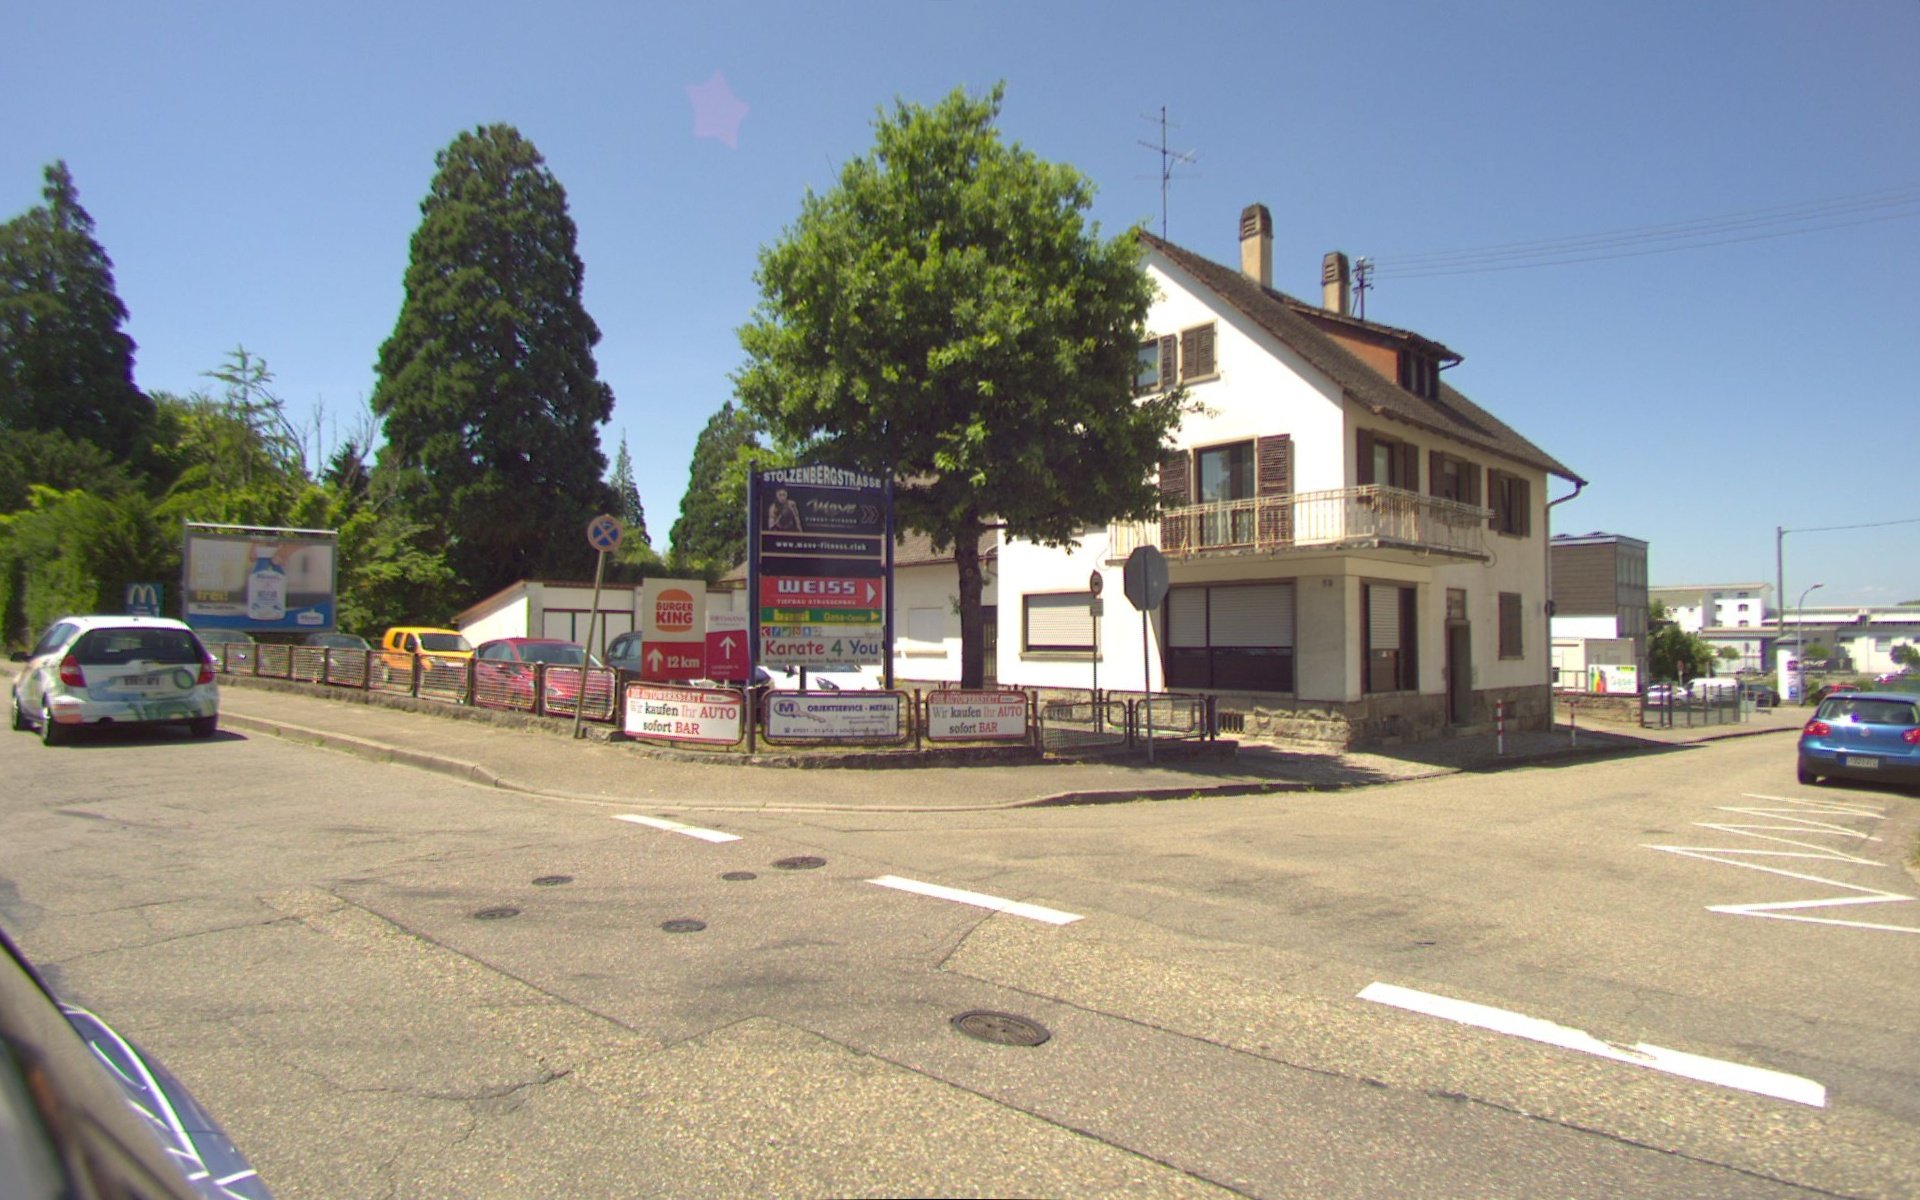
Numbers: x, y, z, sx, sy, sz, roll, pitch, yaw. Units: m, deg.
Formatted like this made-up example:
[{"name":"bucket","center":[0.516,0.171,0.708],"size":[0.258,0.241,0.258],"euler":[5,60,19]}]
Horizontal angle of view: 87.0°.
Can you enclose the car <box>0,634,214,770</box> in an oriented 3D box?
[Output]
[{"name":"car","center":[-11.671,1.275,13.740],"size":[3.883,1.574,1.635],"euler":[-2,-4,41]}]

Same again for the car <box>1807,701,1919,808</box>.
[{"name":"car","center":[14.733,2.344,15.803],"size":[3.939,1.445,1.802],"euler":[5,-6,-43]}]

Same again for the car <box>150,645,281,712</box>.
[{"name":"car","center":[-19.685,2.028,26.717],"size":[3.996,1.530,1.776],"euler":[0,-3,39]}]

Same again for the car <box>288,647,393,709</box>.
[{"name":"car","center":[-17.735,2.191,28.880],"size":[1.772,1.530,4.005],"euler":[4,-3,-42]}]

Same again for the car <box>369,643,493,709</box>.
[{"name":"car","center":[-15.827,2.229,30.232],"size":[3.996,1.755,1.776],"euler":[0,-3,39]}]

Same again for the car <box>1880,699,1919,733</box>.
[{"name":"car","center":[47.403,5.768,50.550],"size":[3.939,1.616,1.802],"euler":[5,-6,-43]}]

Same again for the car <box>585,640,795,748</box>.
[{"name":"car","center":[-4.975,1.591,18.223],"size":[1.772,1.691,4.631],"euler":[4,-4,-41]}]

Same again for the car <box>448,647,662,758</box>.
[{"name":"car","center":[-6.602,1.552,16.277],"size":[1.773,1.530,4.003],"euler":[4,-5,-44]}]

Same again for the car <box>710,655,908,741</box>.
[{"name":"car","center":[-2.992,1.820,19.543],"size":[1.773,1.445,4.003],"euler":[4,-5,-44]}]

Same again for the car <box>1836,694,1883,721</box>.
[{"name":"car","center":[57.633,6.873,64.826],"size":[3.939,1.616,1.802],"euler":[5,-6,-43]}]
